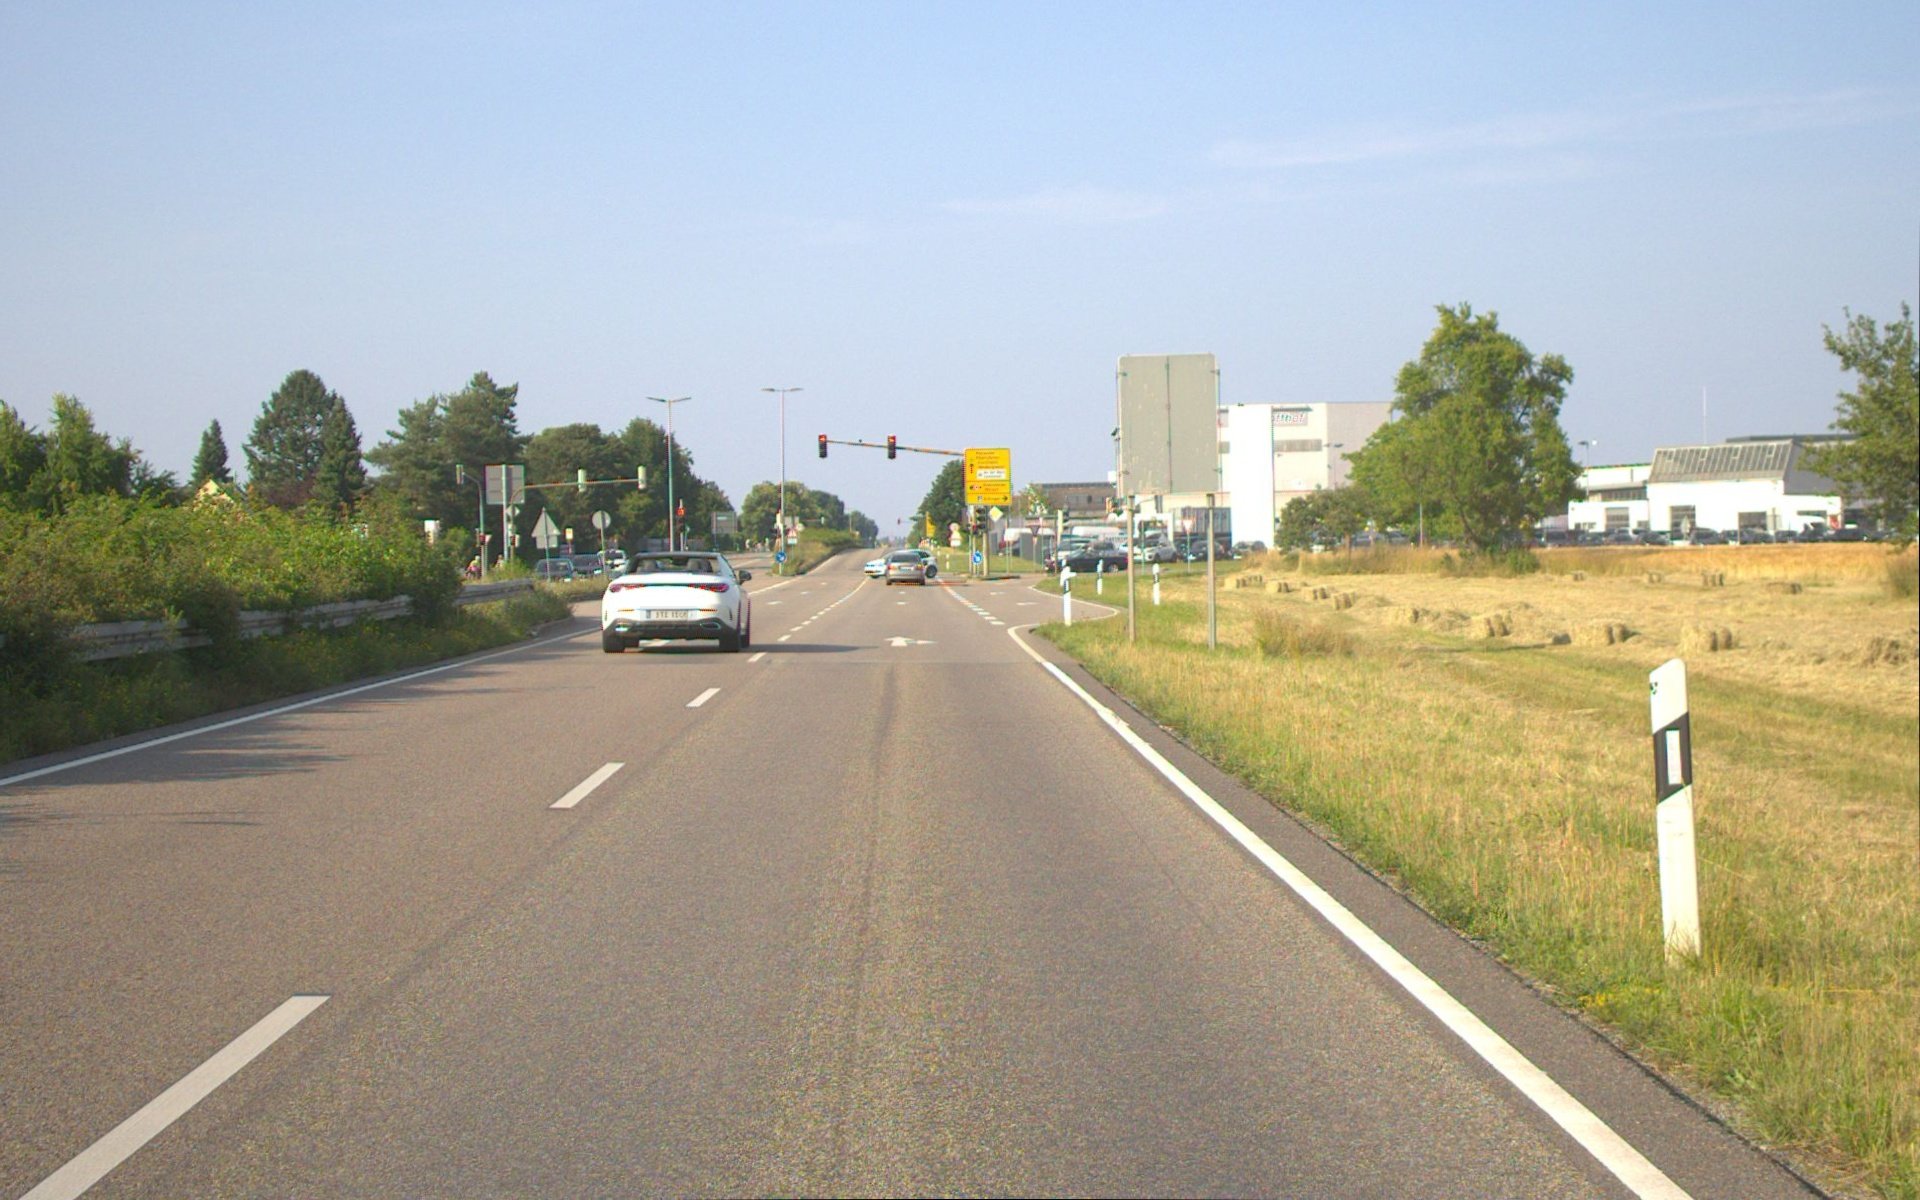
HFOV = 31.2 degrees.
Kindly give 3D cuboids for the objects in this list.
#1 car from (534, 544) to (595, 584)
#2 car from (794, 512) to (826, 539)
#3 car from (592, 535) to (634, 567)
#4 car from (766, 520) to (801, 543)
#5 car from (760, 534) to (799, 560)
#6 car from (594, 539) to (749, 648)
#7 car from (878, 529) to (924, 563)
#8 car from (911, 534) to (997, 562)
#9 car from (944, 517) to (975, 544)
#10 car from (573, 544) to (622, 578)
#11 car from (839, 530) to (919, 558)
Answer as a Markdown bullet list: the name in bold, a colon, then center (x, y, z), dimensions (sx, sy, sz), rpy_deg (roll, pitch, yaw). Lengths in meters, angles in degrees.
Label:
- **car**: center (-15.383, -1.400, 133.759), dimensions (1.993, 1.481, 4.227), rpy_deg (0, 1, -2)
- **car**: center (-9.868, -4.888, 225.997), dimensions (1.947, 1.766, 4.000), rpy_deg (0, 1, 0)
- **car**: center (-19.573, -2.782, 193.911), dimensions (1.947, 1.794, 4.000), rpy_deg (0, 1, 0)
- **car**: center (-10.867, -4.237, 211.745), dimensions (1.947, 1.403, 4.000), rpy_deg (0, 1, 0)
- **car**: center (-9.810, -2.895, 186.924), dimensions (1.947, 1.403, 4.000), rpy_deg (0, 1, 0)
- **car**: center (-3.943, -0.126, 47.483), dimensions (1.909, 1.417, 4.001), rpy_deg (0, 1, -2)
- **car**: center (-2.636, -2.393, 151.981), dimensions (1.993, 1.481, 4.001), rpy_deg (0, 1, -2)
- **car**: center (-0.305, -2.682, 176.040), dimensions (3.986, 1.403, 1.955), rpy_deg (0, 1, -20)
- **car**: center (-0.022, -4.565, 225.956), dimensions (1.993, 1.751, 4.000), rpy_deg (0, 1, 0)
- **car**: center (-15.899, -1.720, 151.010), dimensions (1.729, 1.403, 4.000), rpy_deg (0, 1, 0)
- **car**: center (-4.152, -2.869, 176.930), dimensions (1.952, 1.403, 3.991), rpy_deg (1, 2, 40)
